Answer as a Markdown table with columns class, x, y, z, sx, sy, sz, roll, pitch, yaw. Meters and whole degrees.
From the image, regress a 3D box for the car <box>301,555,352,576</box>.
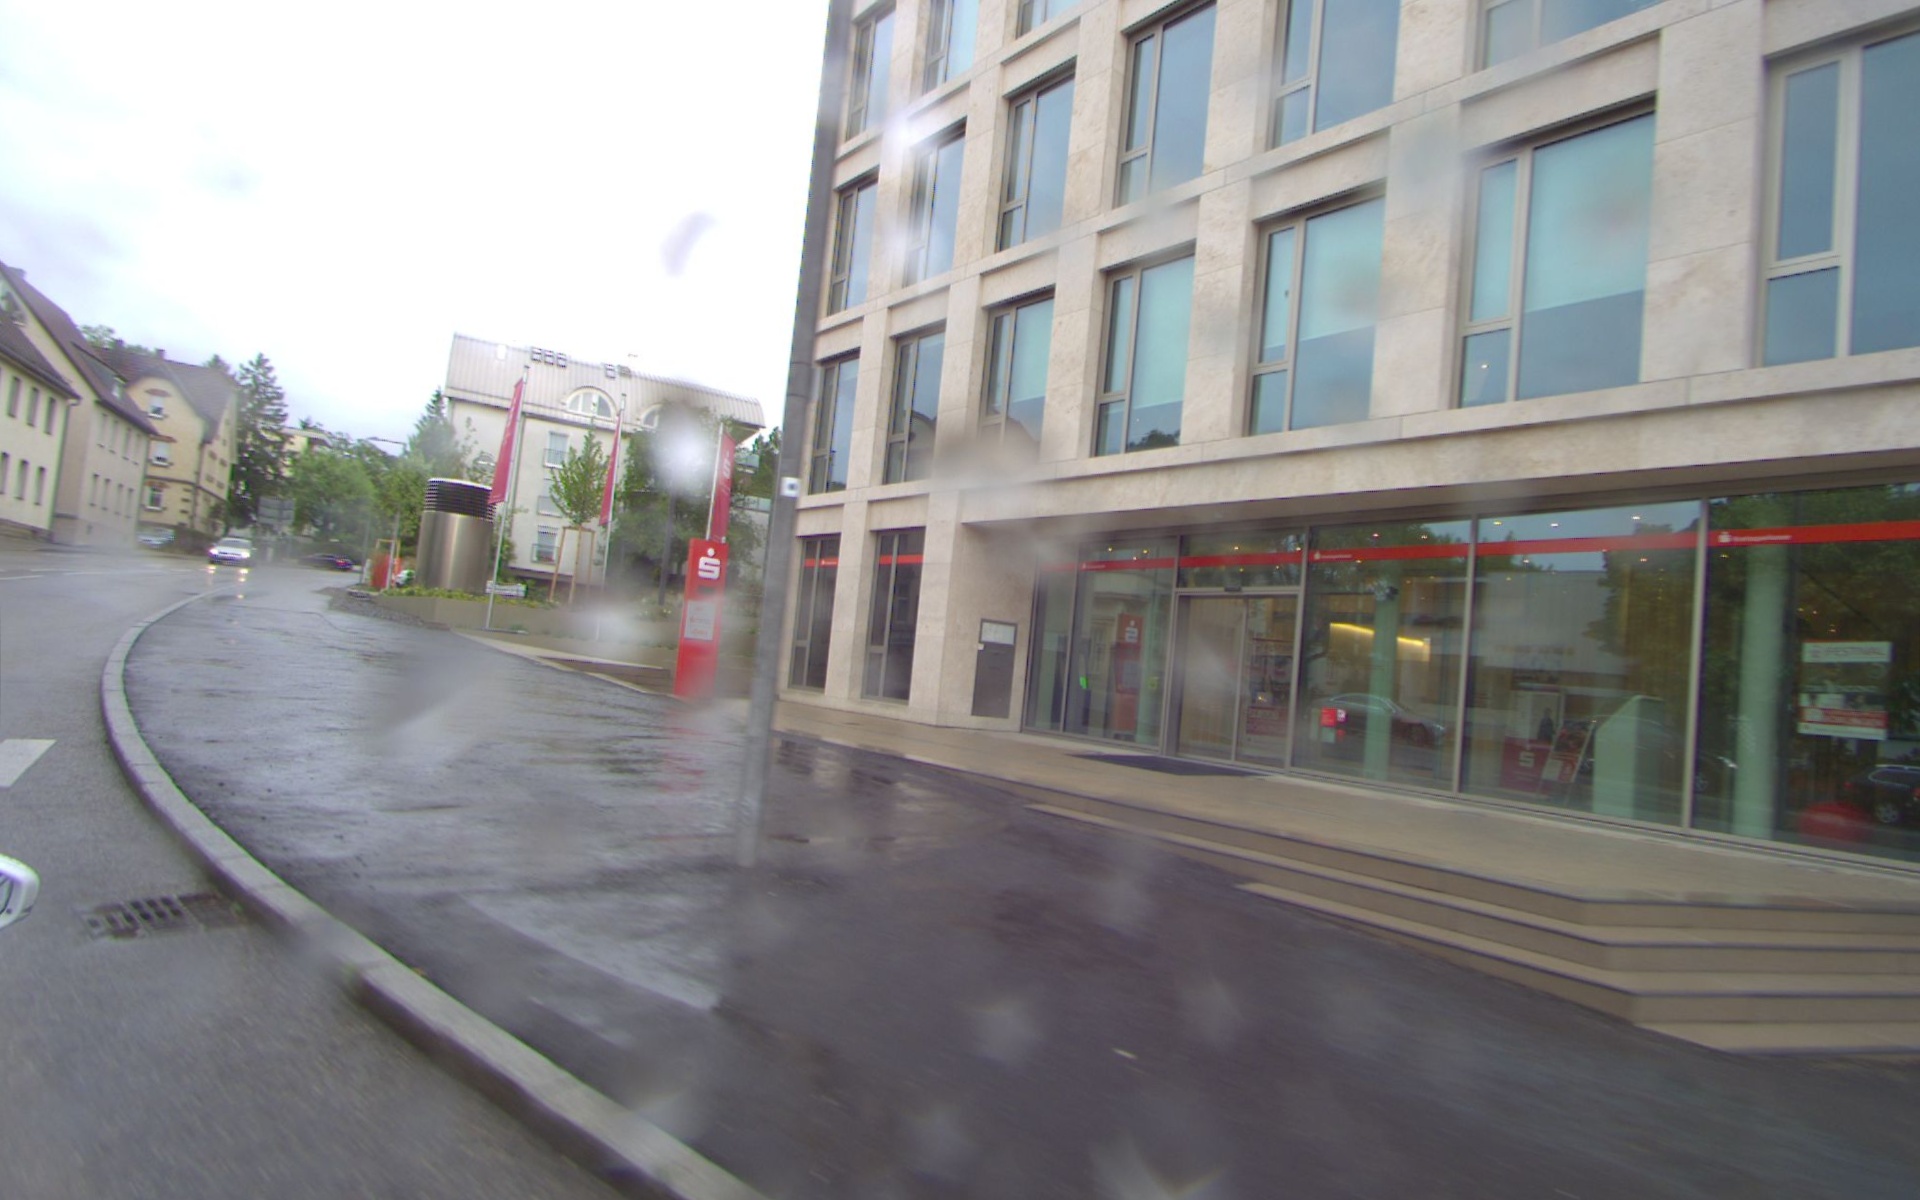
| class | x | y | z | sx | sy | sz | roll | pitch | yaw |
| --- | --- | --- | --- | --- | --- | --- | --- | --- | --- |
| car | -57.154 | -3.102 | 90.828 | 3.664 | 1.302 | 1.683 | 10 | -3 | -30 |

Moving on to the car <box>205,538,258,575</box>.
| class | x | y | z | sx | sy | sz | roll | pitch | yaw |
| --- | --- | --- | --- | --- | --- | --- | --- | --- | --- |
| car | -38.587 | -2.267 | 53.348 | 1.616 | 1.616 | 3.212 | 10 | -3 | -27 |

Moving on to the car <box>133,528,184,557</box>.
| class | x | y | z | sx | sy | sz | roll | pitch | yaw |
| --- | --- | --- | --- | --- | --- | --- | --- | --- | --- |
| car | -50.690 | -3.601 | 63.685 | 1.677 | 1.469 | 3.213 | 10 | -3 | -26 |

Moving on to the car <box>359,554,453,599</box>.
| class | x | y | z | sx | sy | sz | roll | pitch | yaw |
| --- | --- | --- | --- | --- | --- | --- | --- | --- | --- |
| car | -22.997 | -0.970 | 41.886 | 3.196 | 1.302 | 1.685 | 10 | -3 | -27 |
